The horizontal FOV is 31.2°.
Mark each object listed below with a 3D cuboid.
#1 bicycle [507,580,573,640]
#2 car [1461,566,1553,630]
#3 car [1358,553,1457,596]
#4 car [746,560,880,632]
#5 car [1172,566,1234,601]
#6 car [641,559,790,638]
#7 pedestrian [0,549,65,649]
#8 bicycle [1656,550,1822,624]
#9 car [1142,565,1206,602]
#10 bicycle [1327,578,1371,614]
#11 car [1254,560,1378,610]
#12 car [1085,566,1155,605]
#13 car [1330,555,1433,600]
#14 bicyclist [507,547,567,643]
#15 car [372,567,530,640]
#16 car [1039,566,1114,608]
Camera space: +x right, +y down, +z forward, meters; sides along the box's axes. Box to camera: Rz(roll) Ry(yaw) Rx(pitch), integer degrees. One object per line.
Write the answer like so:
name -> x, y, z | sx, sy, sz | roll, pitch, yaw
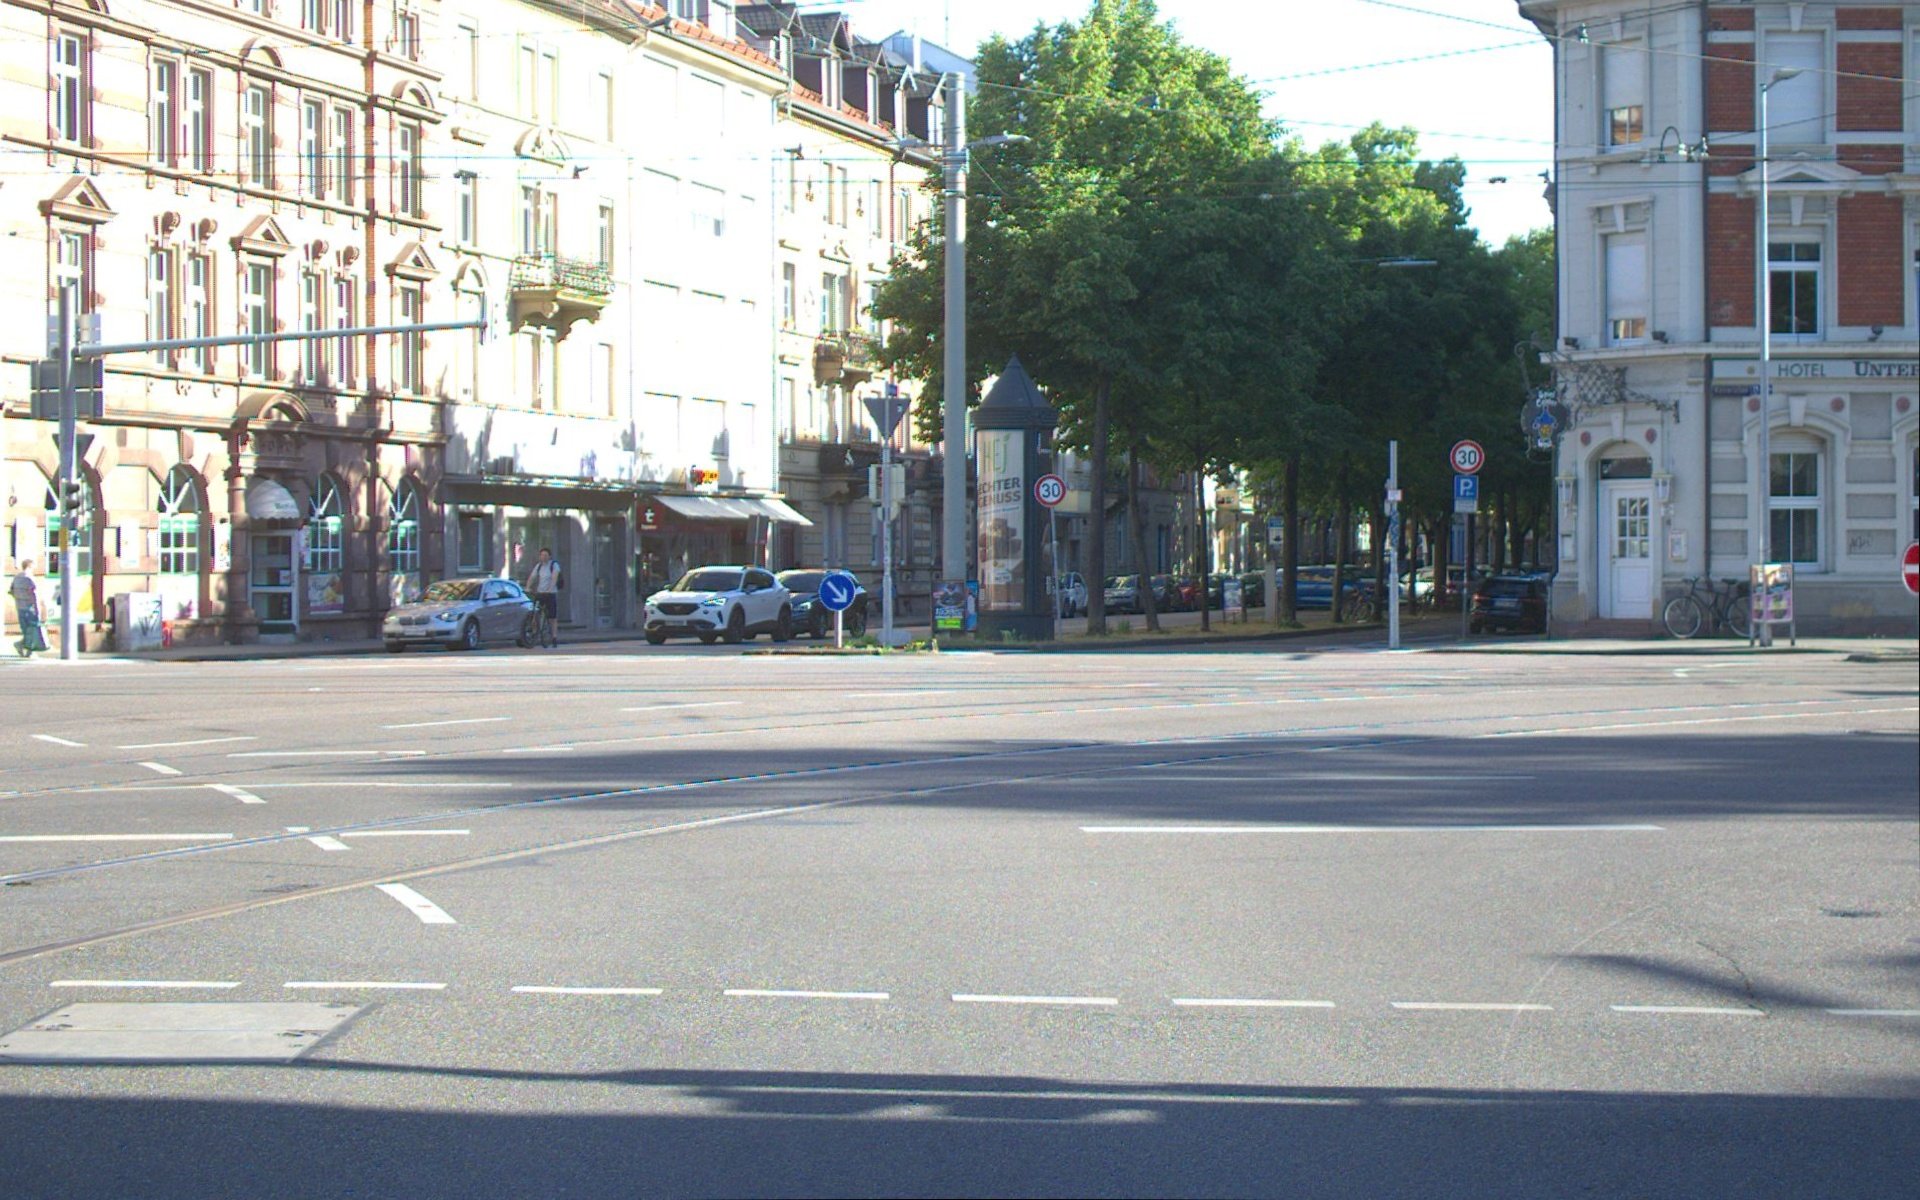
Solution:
bicycle -> -7.974, 0.180, 65.273 | 0.702, 1.114, 1.634 | 1, 1, 13
car -> 13.154, -0.062, 82.583 | 1.678, 1.478, 3.945 | 0, 1, 16
car -> 17.388, -1.010, 133.516 | 3.582, 1.642, 1.681 | 0, 1, 17
car -> -3.115, -0.107, 73.623 | 1.678, 1.478, 3.945 | 0, 1, 16
car -> 9.613, -0.664, 135.787 | 1.678, 1.349, 3.588 | 0, 1, 17
car -> -4.757, -0.057, 67.322 | 1.678, 1.478, 3.768 | 0, 1, 16
pedestrian -> -15.748, -0.023, 58.299 | 0.776, 1.664, 0.830 | 1, 0, 15
bicycle -> 12.975, -0.210, 57.285 | 2.554, 1.170, 0.819 | 1, 0, -3
car -> 8.141, -0.624, 130.756 | 1.678, 1.349, 3.588 | 0, 1, 17
bicycle -> 11.264, -0.111, 99.493 | 0.636, 1.018, 1.847 | 1, 1, -14
car -> 11.993, -0.518, 115.687 | 3.905, 1.642, 1.681 | 0, 1, 17
car -> 5.706, -0.533, 122.449 | 1.678, 1.349, 3.588 | 0, 1, 17
car -> 15.714, -0.856, 128.042 | 3.582, 1.642, 1.681 | 0, 1, 17
bicyclist -> -8.009, -0.093, 65.146 | 0.779, 1.797, 1.055 | 1, 0, 14
car -> -9.867, 0.051, 66.917 | 1.678, 1.349, 3.588 | 0, 1, 17
car -> 3.935, -0.452, 115.488 | 1.678, 1.349, 3.588 | 0, 1, 17
